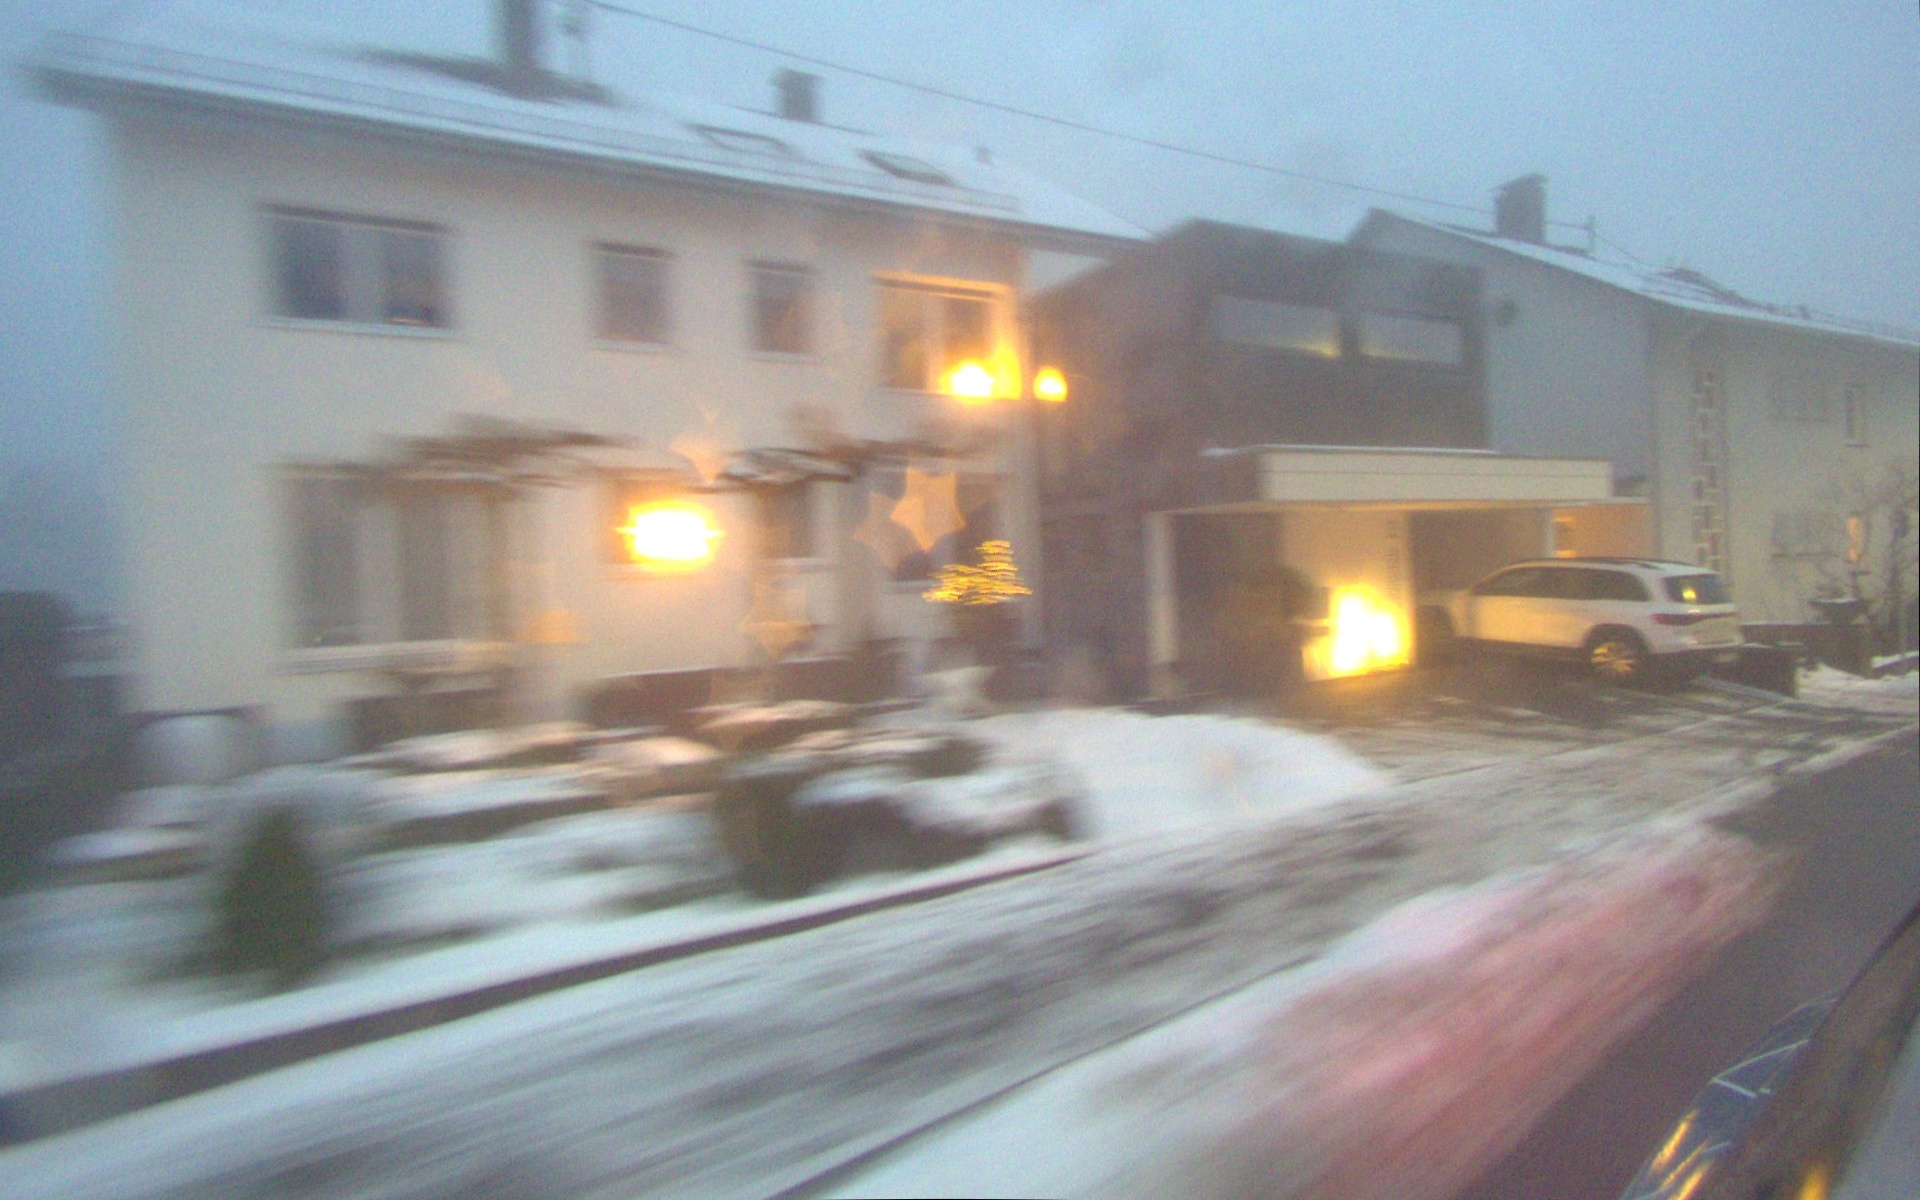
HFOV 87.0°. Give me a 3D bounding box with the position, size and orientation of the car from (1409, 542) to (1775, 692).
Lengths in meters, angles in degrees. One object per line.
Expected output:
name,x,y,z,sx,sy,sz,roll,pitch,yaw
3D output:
car,9.081,0.145,14.956,1.873,1.881,4.226,-1,2,-28
